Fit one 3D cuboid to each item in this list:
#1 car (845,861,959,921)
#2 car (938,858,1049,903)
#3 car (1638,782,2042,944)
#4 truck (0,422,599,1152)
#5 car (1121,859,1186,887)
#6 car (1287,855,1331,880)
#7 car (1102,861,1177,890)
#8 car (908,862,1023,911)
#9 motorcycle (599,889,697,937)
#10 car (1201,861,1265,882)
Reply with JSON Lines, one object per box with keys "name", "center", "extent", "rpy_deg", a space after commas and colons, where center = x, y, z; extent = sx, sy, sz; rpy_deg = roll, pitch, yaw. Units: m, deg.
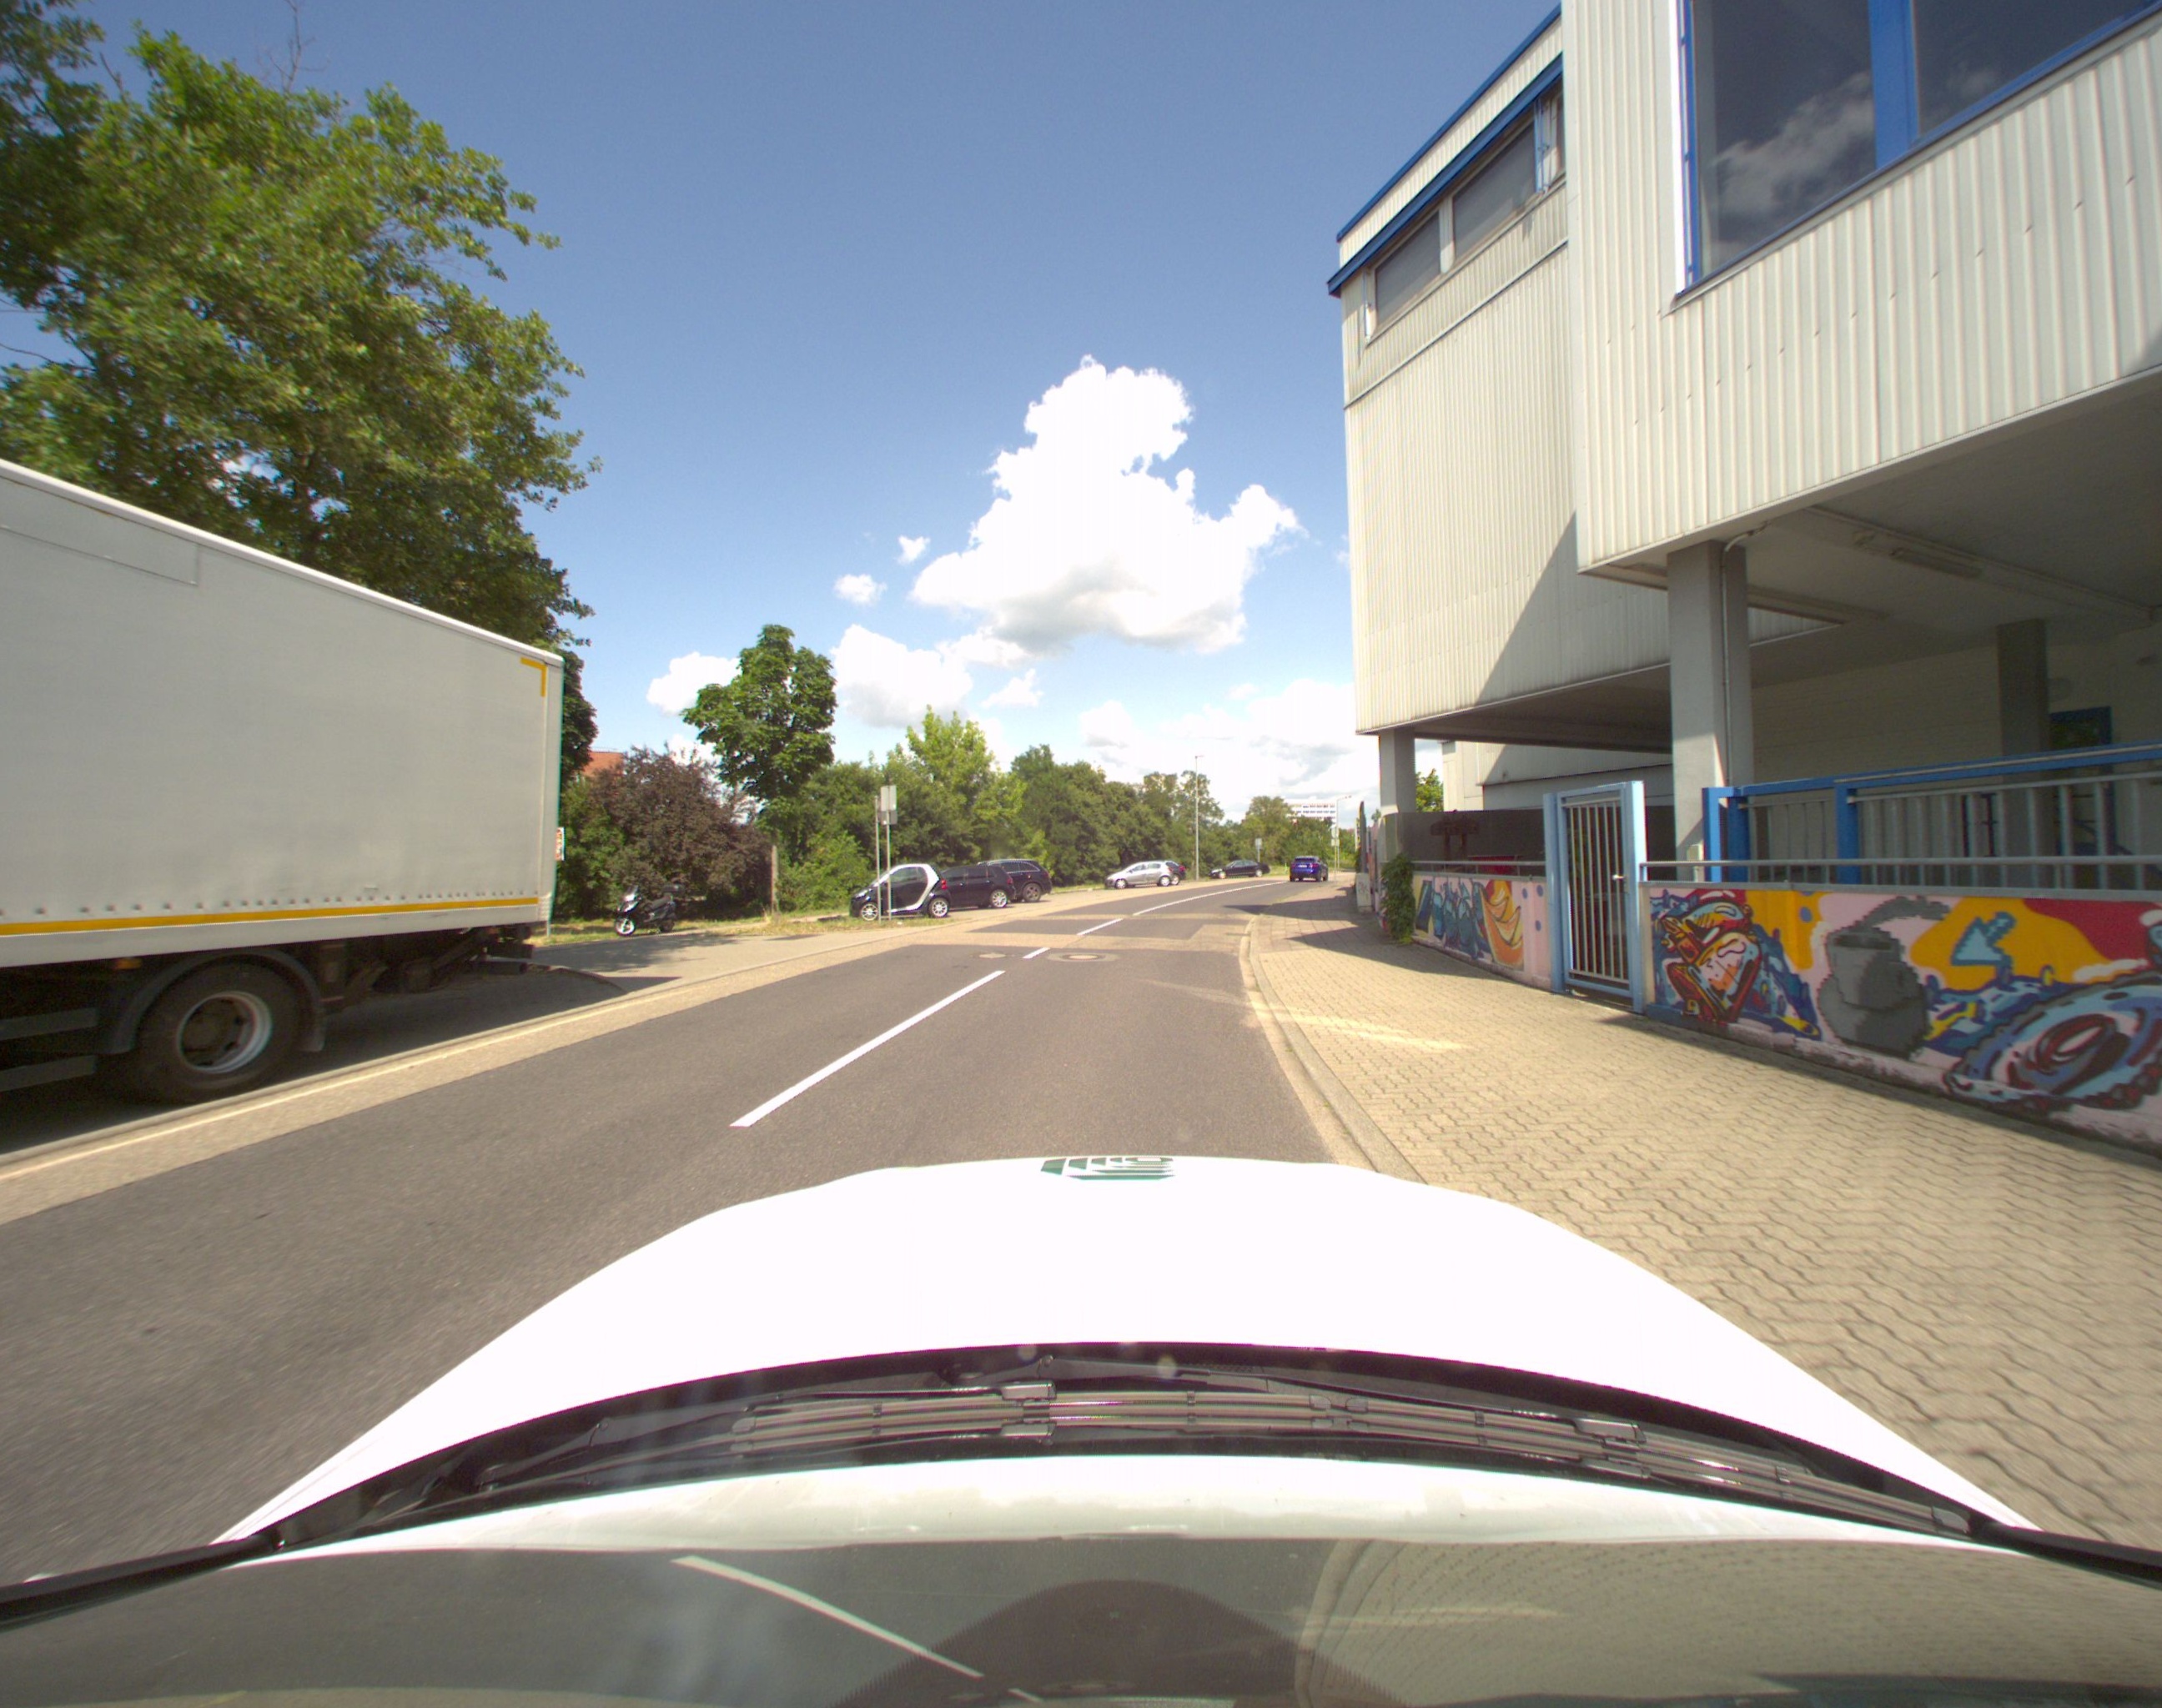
{"name": "car", "center": [-5.087, 1.008, 23.018], "extent": [2.909, 1.570, 1.876], "rpy_deg": [0, -2, -21]}
{"name": "car", "center": [-3.227, 0.972, 30.123], "extent": [3.649, 1.570, 1.872], "rpy_deg": [0, -2, -28]}
{"name": "car", "center": [10.378, 0.140, 11.464], "extent": [3.694, 2.014, 2.003], "rpy_deg": [1, -3, 6]}
{"name": "truck", "center": [-6.480, -0.336, 3.641], "extent": [2.310, 3.568, 9.380], "rpy_deg": [0, 0, 5]}
{"name": "car", "center": [4.308, 1.149, 48.505], "extent": [3.573, 1.570, 1.738], "rpy_deg": [-1, -2, -6]}
{"name": "car", "center": [15.048, 0.894, 53.593], "extent": [1.891, 1.593, 4.729], "rpy_deg": [-2, -2, 27]}
{"name": "car", "center": [3.311, 1.242, 46.585], "extent": [4.040, 1.570, 1.738], "rpy_deg": [-1, -2, -6]}
{"name": "car", "center": [-3.767, 1.025, 26.661], "extent": [3.343, 1.475, 1.688], "rpy_deg": [-1, -1, -29]}
{"name": "motorcycle", "center": [-11.145, 1.491, 21.076], "extent": [0.733, 1.085, 2.264], "rpy_deg": [-1, -1, 23]}
{"name": "car", "center": [12.475, 1.440, 66.983], "extent": [4.875, 1.570, 1.738], "rpy_deg": [-1, -2, -6]}
